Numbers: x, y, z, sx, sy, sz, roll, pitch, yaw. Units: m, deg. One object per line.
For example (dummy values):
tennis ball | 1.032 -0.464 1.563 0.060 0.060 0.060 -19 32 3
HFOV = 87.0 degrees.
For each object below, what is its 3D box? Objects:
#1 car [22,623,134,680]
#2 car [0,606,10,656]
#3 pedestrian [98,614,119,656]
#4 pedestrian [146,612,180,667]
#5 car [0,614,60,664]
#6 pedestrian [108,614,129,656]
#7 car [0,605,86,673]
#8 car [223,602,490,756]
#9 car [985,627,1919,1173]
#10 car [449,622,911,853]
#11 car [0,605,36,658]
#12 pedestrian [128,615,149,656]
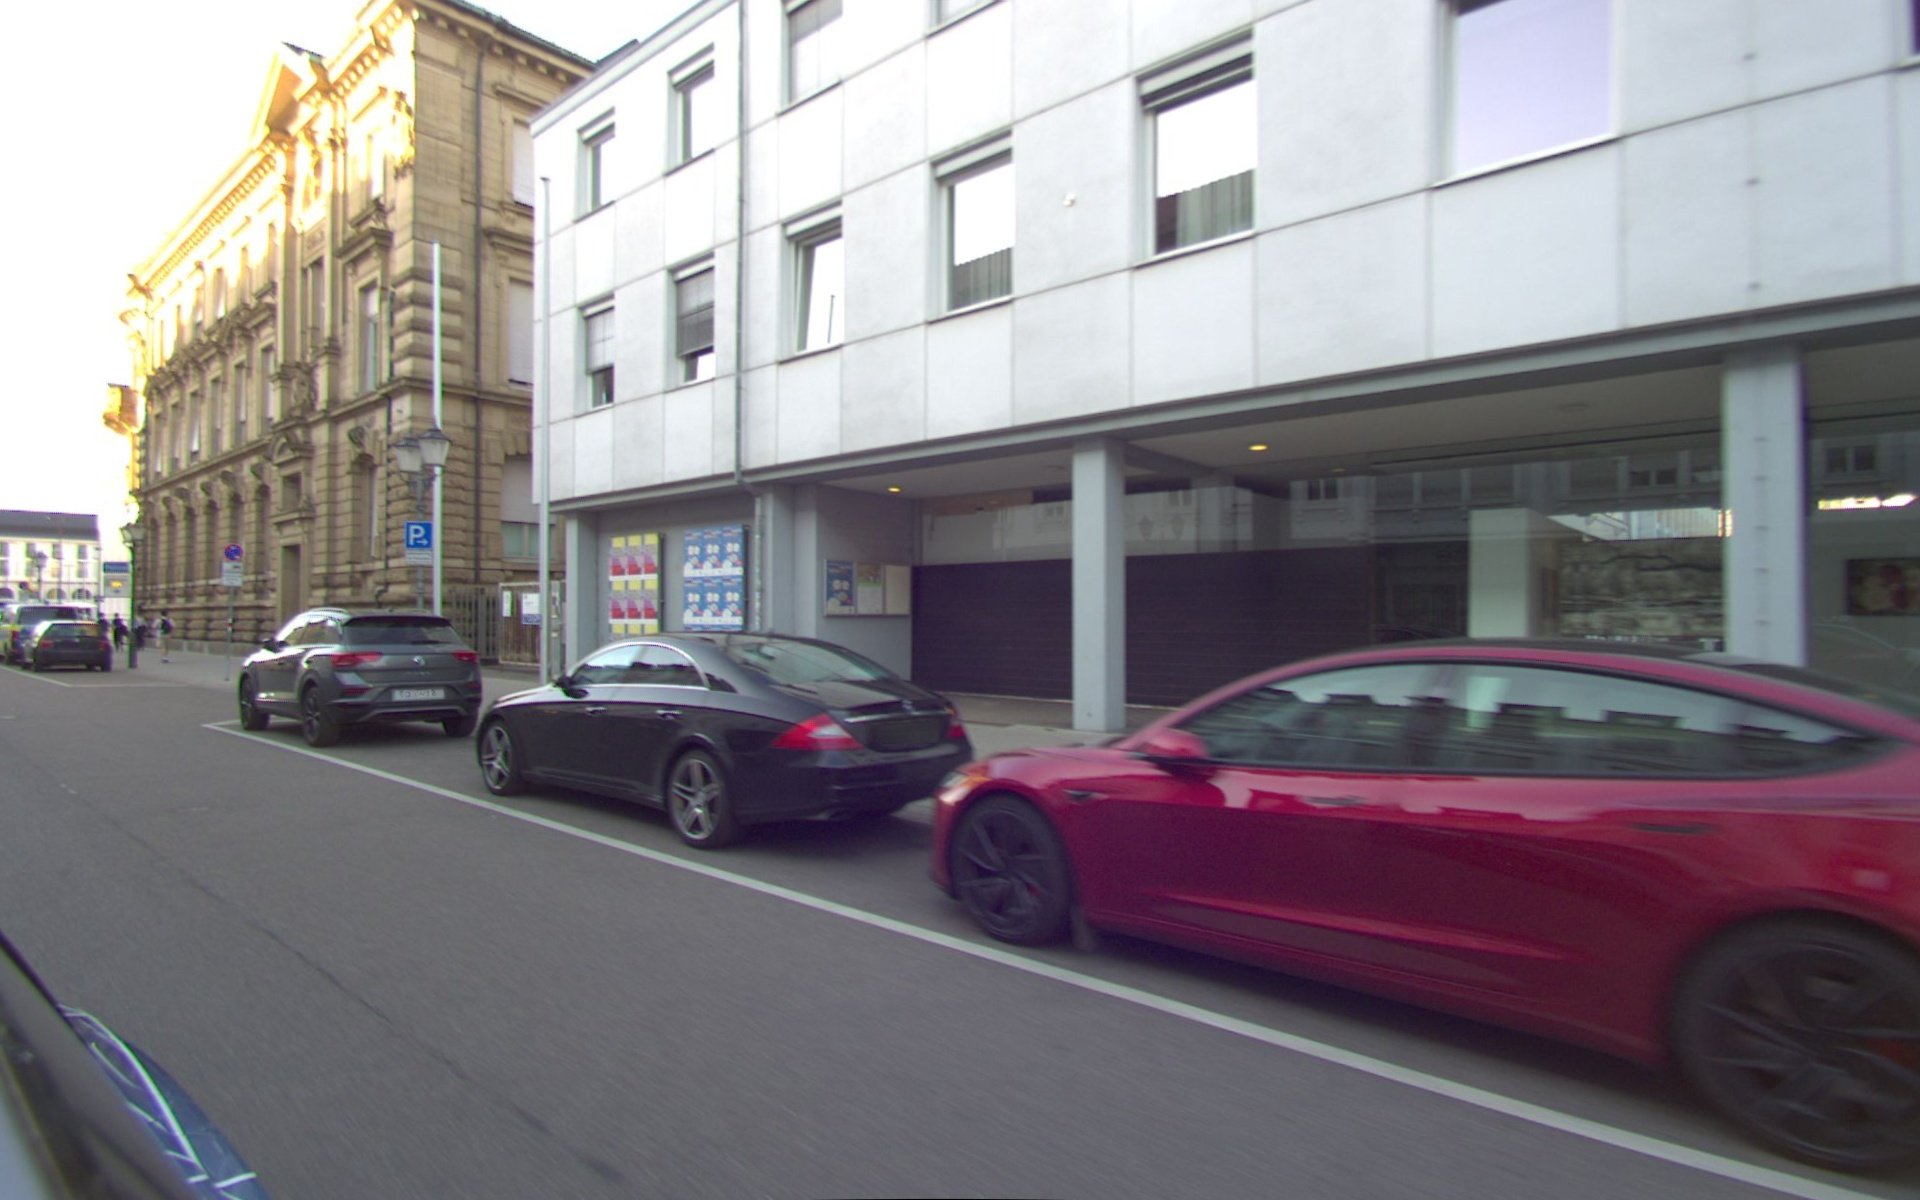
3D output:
car | -25.763 1.437 29.519 4.164 1.506 1.972 -1 -2 42
car | -45.040 1.415 46.043 5.201 2.188 1.974 -1 -1 39
pedestrian | -36.126 1.488 42.934 0.744 1.743 0.567 -1 -2 43
pedestrian | -26.492 1.301 33.635 0.896 1.743 0.706 -1 1 43
car | -35.490 1.416 37.913 4.987 1.765 1.973 -1 -2 41
pedestrian | -36.009 1.493 43.306 0.831 1.743 0.576 -1 -2 43
car | -30.889 1.239 33.737 4.988 2.093 1.973 0 -1 41
car | -7.680 0.876 12.711 4.165 1.627 1.766 -1 -2 43
car | 2.215 0.831 4.164 4.088 1.419 1.766 -1 -2 43
car | -2.460 0.897 8.292 4.088 1.419 1.766 -1 -2 43
car | -39.565 1.271 41.482 5.206 2.103 1.972 -1 -2 42
pedestrian | -35.733 1.527 44.038 0.703 1.743 0.600 -1 -2 43
